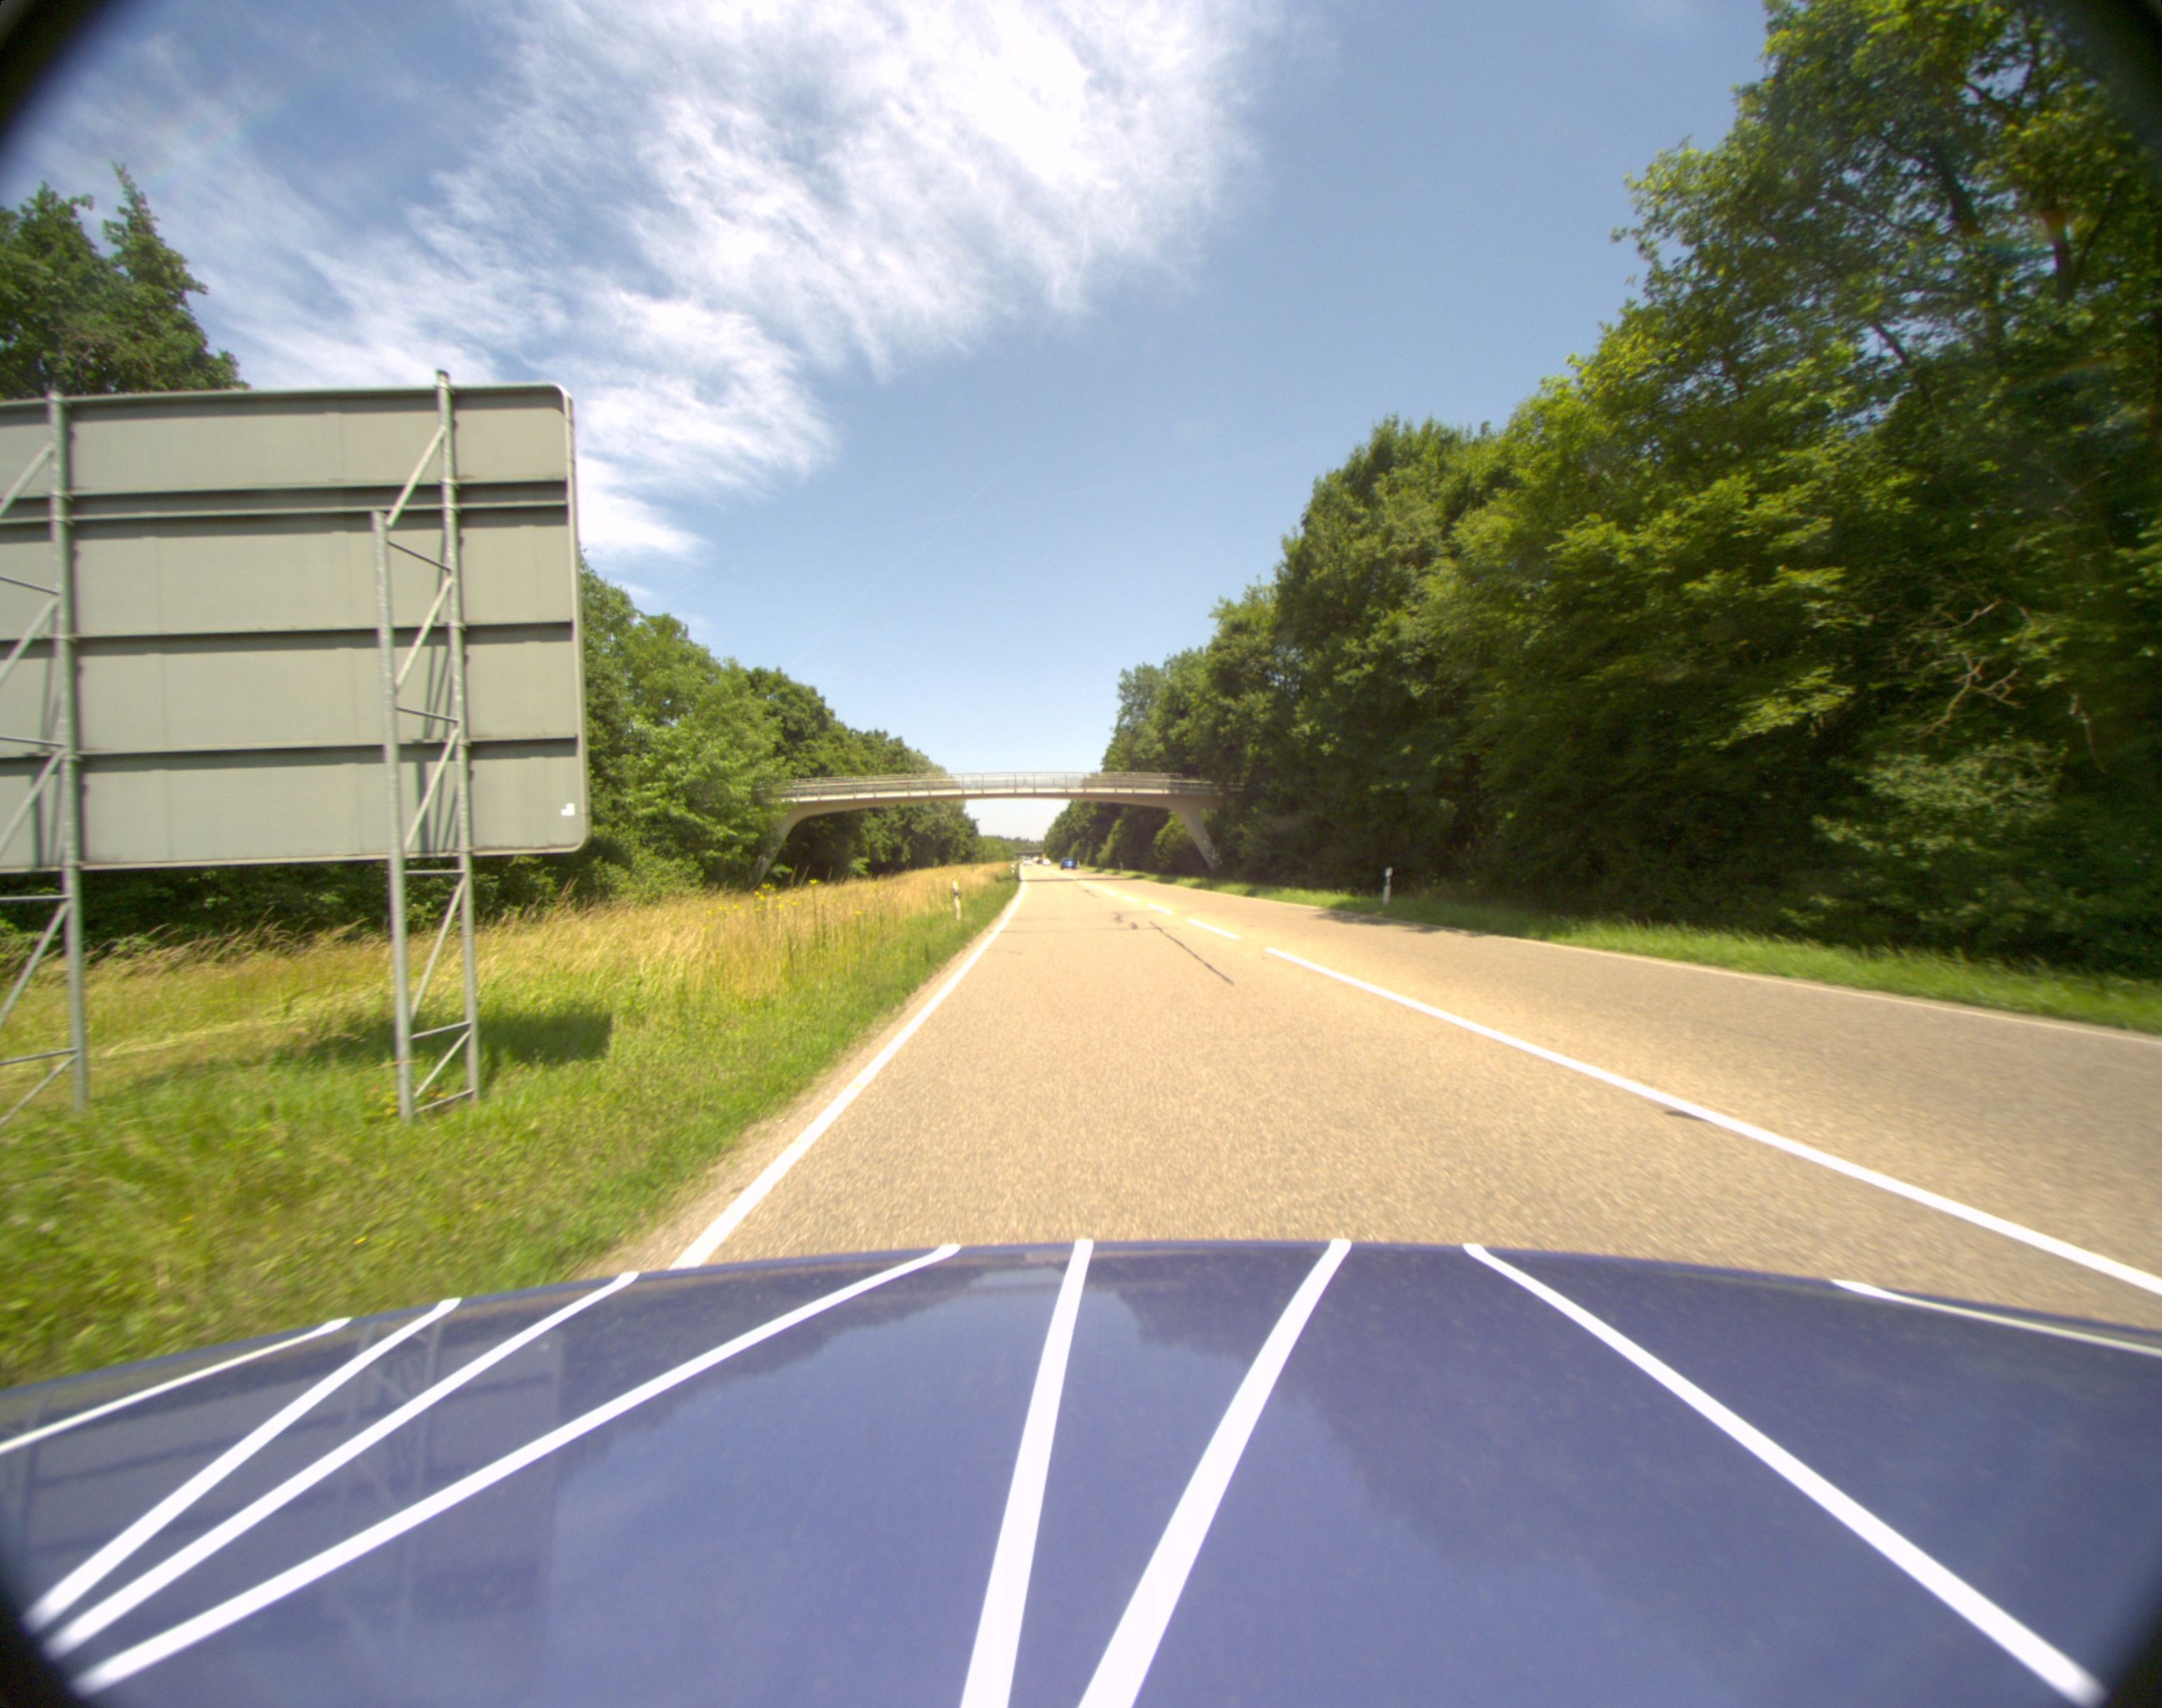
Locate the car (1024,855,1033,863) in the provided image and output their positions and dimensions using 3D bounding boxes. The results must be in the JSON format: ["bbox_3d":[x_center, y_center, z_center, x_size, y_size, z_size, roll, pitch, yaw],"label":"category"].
[{"bbox_3d":[-12.391,1.167,178.617,1.866,1.747,3.998,-2,0,-5],"label":"car"}]

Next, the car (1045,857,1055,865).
[{"bbox_3d":[-6.998,1.660,171.694,1.866,1.747,3.998,-2,0,-5],"label":"car"}]

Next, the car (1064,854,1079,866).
[{"bbox_3d":[-1.352,0.797,104.398,1.828,1.580,4.417,0,0,-4],"label":"car"}]

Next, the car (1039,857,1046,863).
[{"bbox_3d":[-10.768,1.614,212.722,1.866,1.747,3.998,-2,0,-5],"label":"car"}]
